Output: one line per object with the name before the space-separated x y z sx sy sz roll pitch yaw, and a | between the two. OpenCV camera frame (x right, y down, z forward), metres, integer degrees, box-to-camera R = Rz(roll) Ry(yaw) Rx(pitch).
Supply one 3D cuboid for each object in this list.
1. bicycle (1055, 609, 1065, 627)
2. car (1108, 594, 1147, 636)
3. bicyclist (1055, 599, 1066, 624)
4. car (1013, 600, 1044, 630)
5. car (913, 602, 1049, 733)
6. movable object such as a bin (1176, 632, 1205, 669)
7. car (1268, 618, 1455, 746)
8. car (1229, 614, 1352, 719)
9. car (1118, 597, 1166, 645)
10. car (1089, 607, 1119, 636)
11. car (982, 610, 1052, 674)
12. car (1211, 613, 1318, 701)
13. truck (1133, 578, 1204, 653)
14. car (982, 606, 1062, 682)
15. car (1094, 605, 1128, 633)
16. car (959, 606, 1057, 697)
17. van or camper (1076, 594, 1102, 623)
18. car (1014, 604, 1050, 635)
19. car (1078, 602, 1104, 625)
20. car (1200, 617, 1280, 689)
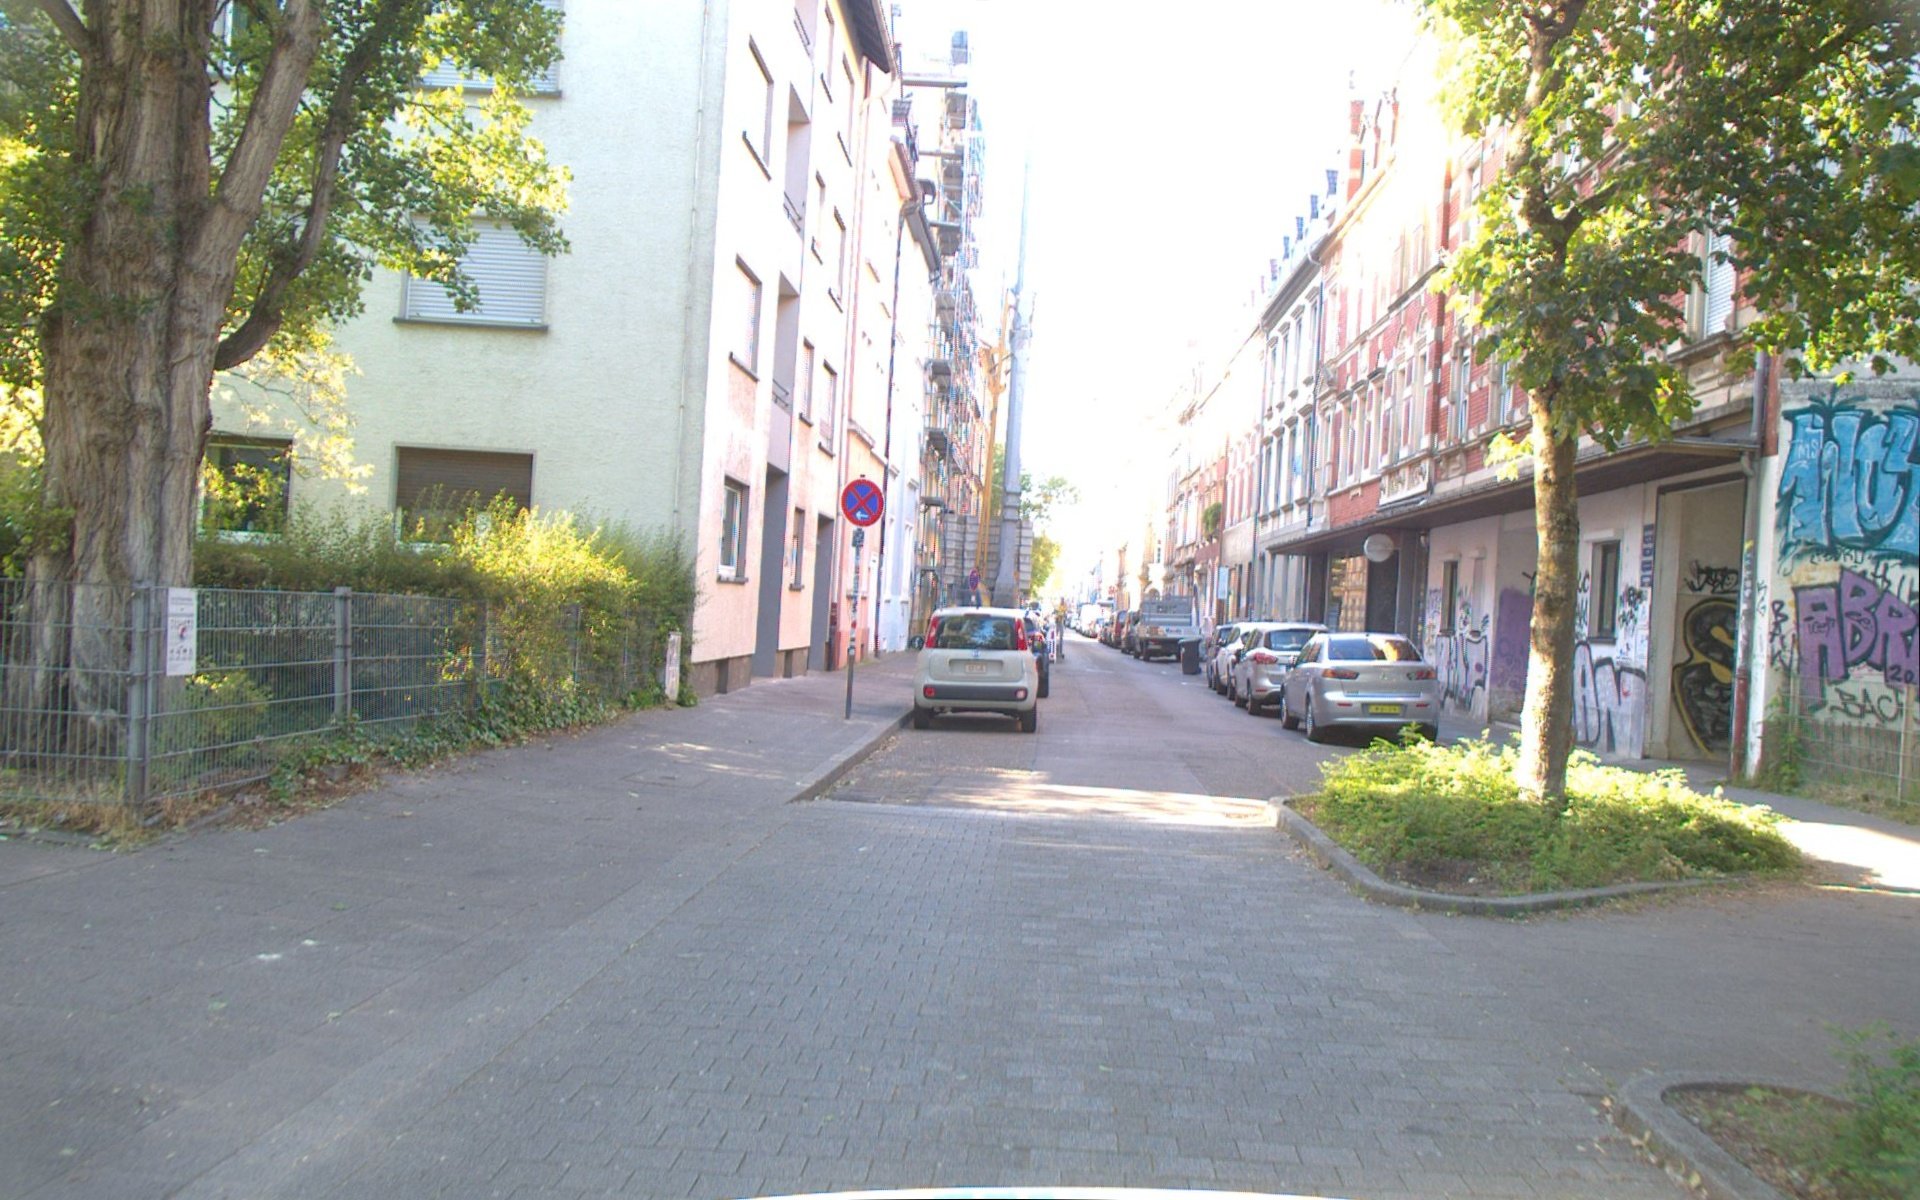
bicycle | 7.456 1.346 123.585 0.709 1.207 2.043 4 1 3
car | 8.677 0.775 85.930 1.640 2.066 3.869 2 0 1
bicyclist | 7.493 0.850 123.608 0.715 1.792 0.835 3 0 3
car | 3.890 0.857 94.316 1.640 1.598 3.869 2 0 1
car | 0.281 0.849 22.400 1.640 1.566 3.869 2 0 1
movable object such as a bin | 7.048 1.554 50.690 0.778 1.074 0.660 3 0 3
car | 5.696 1.102 23.979 1.685 1.589 4.399 3 0 2
car | 5.937 1.148 30.072 1.606 1.685 3.871 3 0 4
car | 8.041 0.933 73.444 1.640 1.997 4.109 2 0 1
car | 10.774 1.585 123.803 1.952 2.049 4.001 3 0 2
car | 1.500 1.054 42.864 1.640 1.503 4.609 2 0 3
car | 6.485 1.174 35.580 1.710 1.705 4.342 2 0 4
truck | 7.883 0.581 62.936 2.144 2.652 5.235 2 0 2
car | 1.422 0.946 37.294 1.640 1.538 4.416 2 0 3
car | 9.052 1.114 99.278 1.640 1.598 3.869 2 0 1
car | 0.872 0.916 31.277 1.693 1.566 4.378 1 0 1
van or camper | 11.873 0.771 152.420 1.953 2.552 4.201 2 0 -1
car | 3.642 0.994 84.139 1.640 1.470 3.869 2 0 1
car | 10.889 1.107 137.780 1.952 1.881 4.001 2 0 2
car | 6.886 1.270 40.918 1.563 1.587 3.815 2 0 4
